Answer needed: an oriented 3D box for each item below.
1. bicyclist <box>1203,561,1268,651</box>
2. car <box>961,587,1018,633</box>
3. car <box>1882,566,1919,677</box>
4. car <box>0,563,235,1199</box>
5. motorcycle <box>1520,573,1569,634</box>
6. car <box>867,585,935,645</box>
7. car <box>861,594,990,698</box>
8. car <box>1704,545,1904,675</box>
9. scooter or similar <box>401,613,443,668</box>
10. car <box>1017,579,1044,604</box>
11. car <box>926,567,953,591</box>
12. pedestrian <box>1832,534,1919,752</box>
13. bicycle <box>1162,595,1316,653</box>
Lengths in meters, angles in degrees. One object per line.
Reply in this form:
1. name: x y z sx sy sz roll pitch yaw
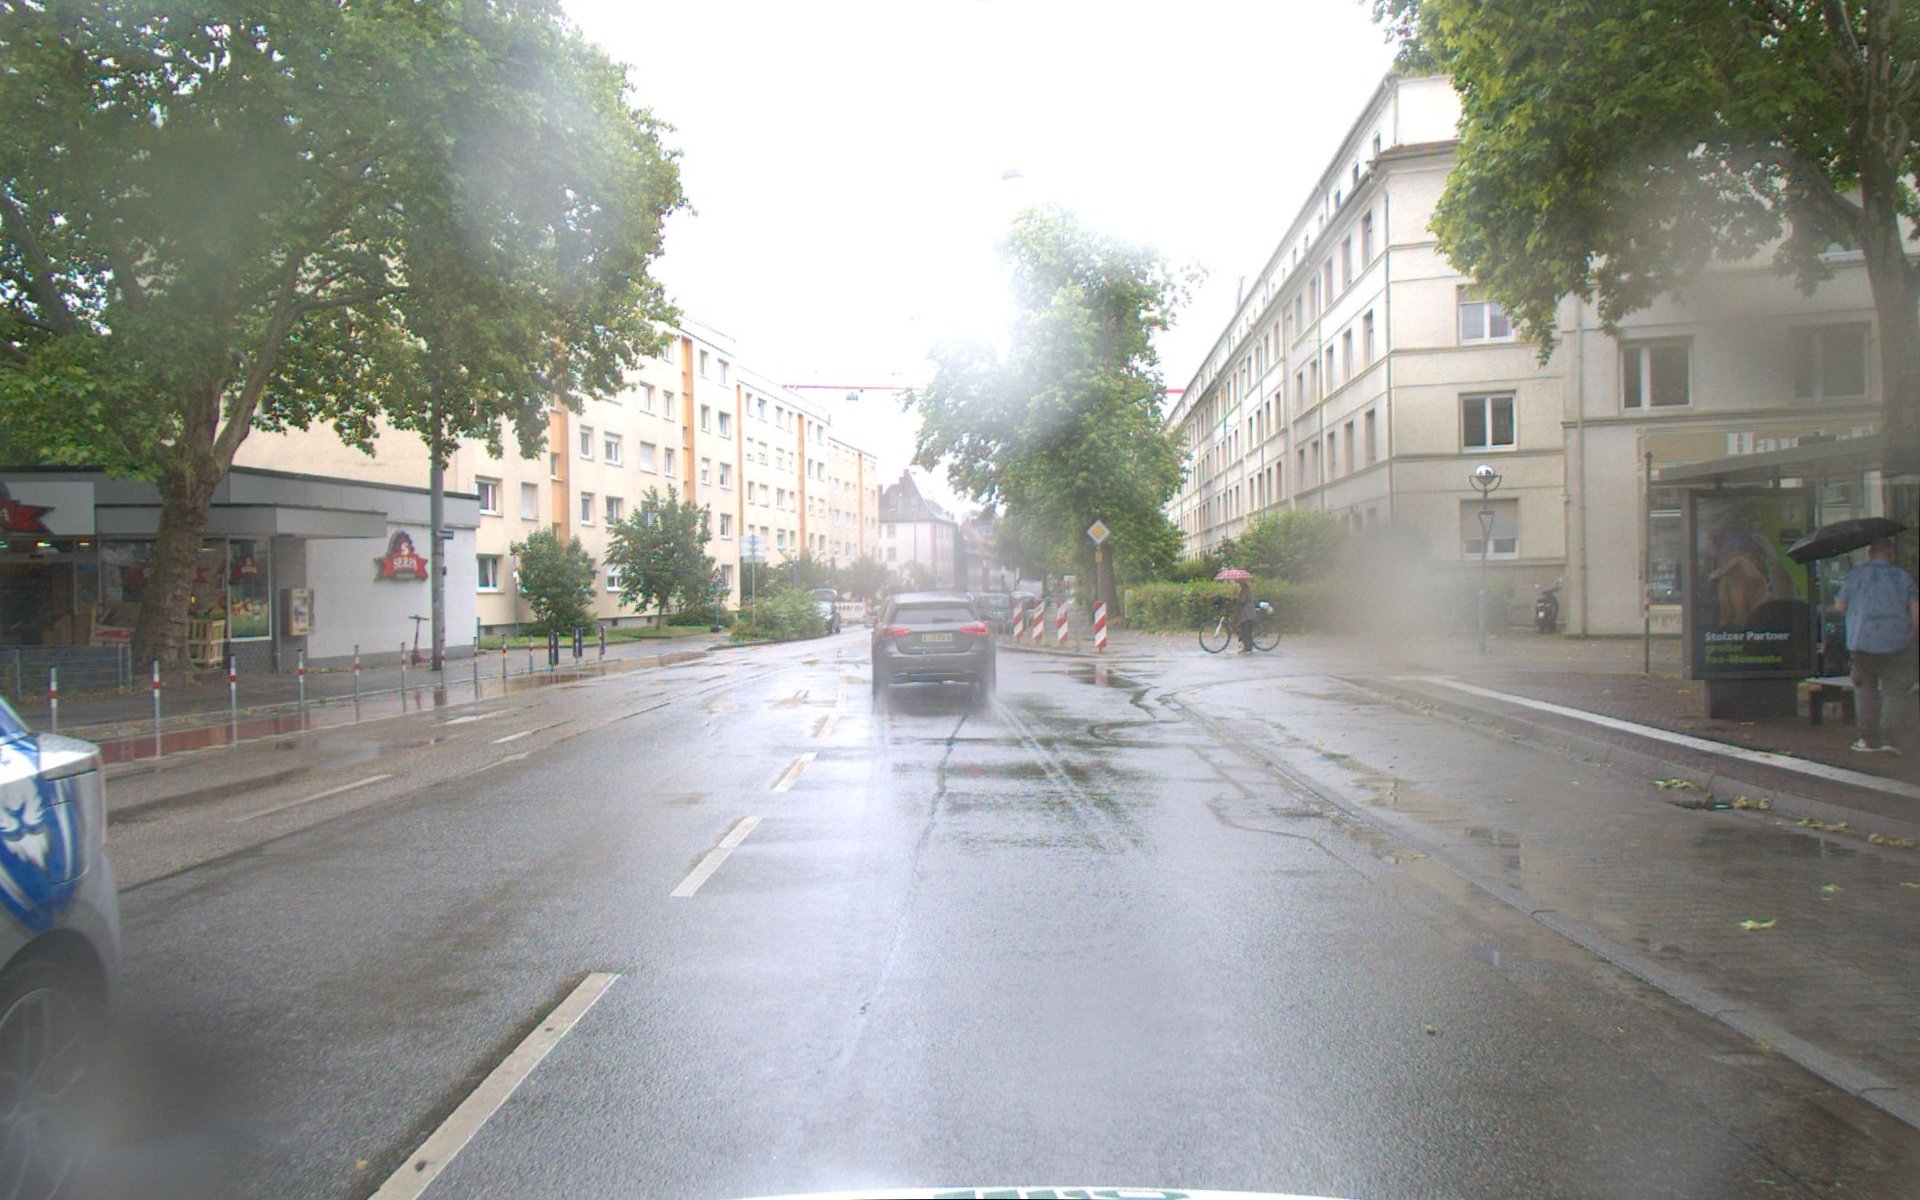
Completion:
1. bicyclist: 5.938 0.123 35.726 0.924 1.901 1.137 -1 0 -18
2. car: 1.060 0.360 62.117 1.953 1.601 3.999 -1 0 -1
3. car: 13.421 0.256 21.443 1.492 1.482 3.392 -1 -2 10
4. car: -2.832 0.719 2.407 1.808 1.536 4.054 -1 0 -1
5. motorcycle: 14.327 0.065 40.493 0.858 1.416 3.003 -2 0 24
6. car: -1.479 0.354 42.703 1.574 1.396 4.000 -2 0 0
7. car: -0.470 0.616 24.265 1.754 1.396 3.506 0 0 0
8. car: 11.236 0.176 22.259 1.652 1.578 3.525 -1 -2 15
9. scooter or similar: -13.250 0.988 40.752 0.428 1.288 1.376 -1 0 7
10. car: 5.565 -0.687 130.402 2.004 1.868 4.794 -1 0 3
11. car: -1.686 -1.737 137.836 1.850 1.868 4.002 -1 0 3
12. pedestrian: 7.420 0.333 13.241 0.702 1.698 0.665 -1 0 24
13. bicycle: 6.039 0.502 35.812 3.157 1.131 1.048 -2 0 -19
